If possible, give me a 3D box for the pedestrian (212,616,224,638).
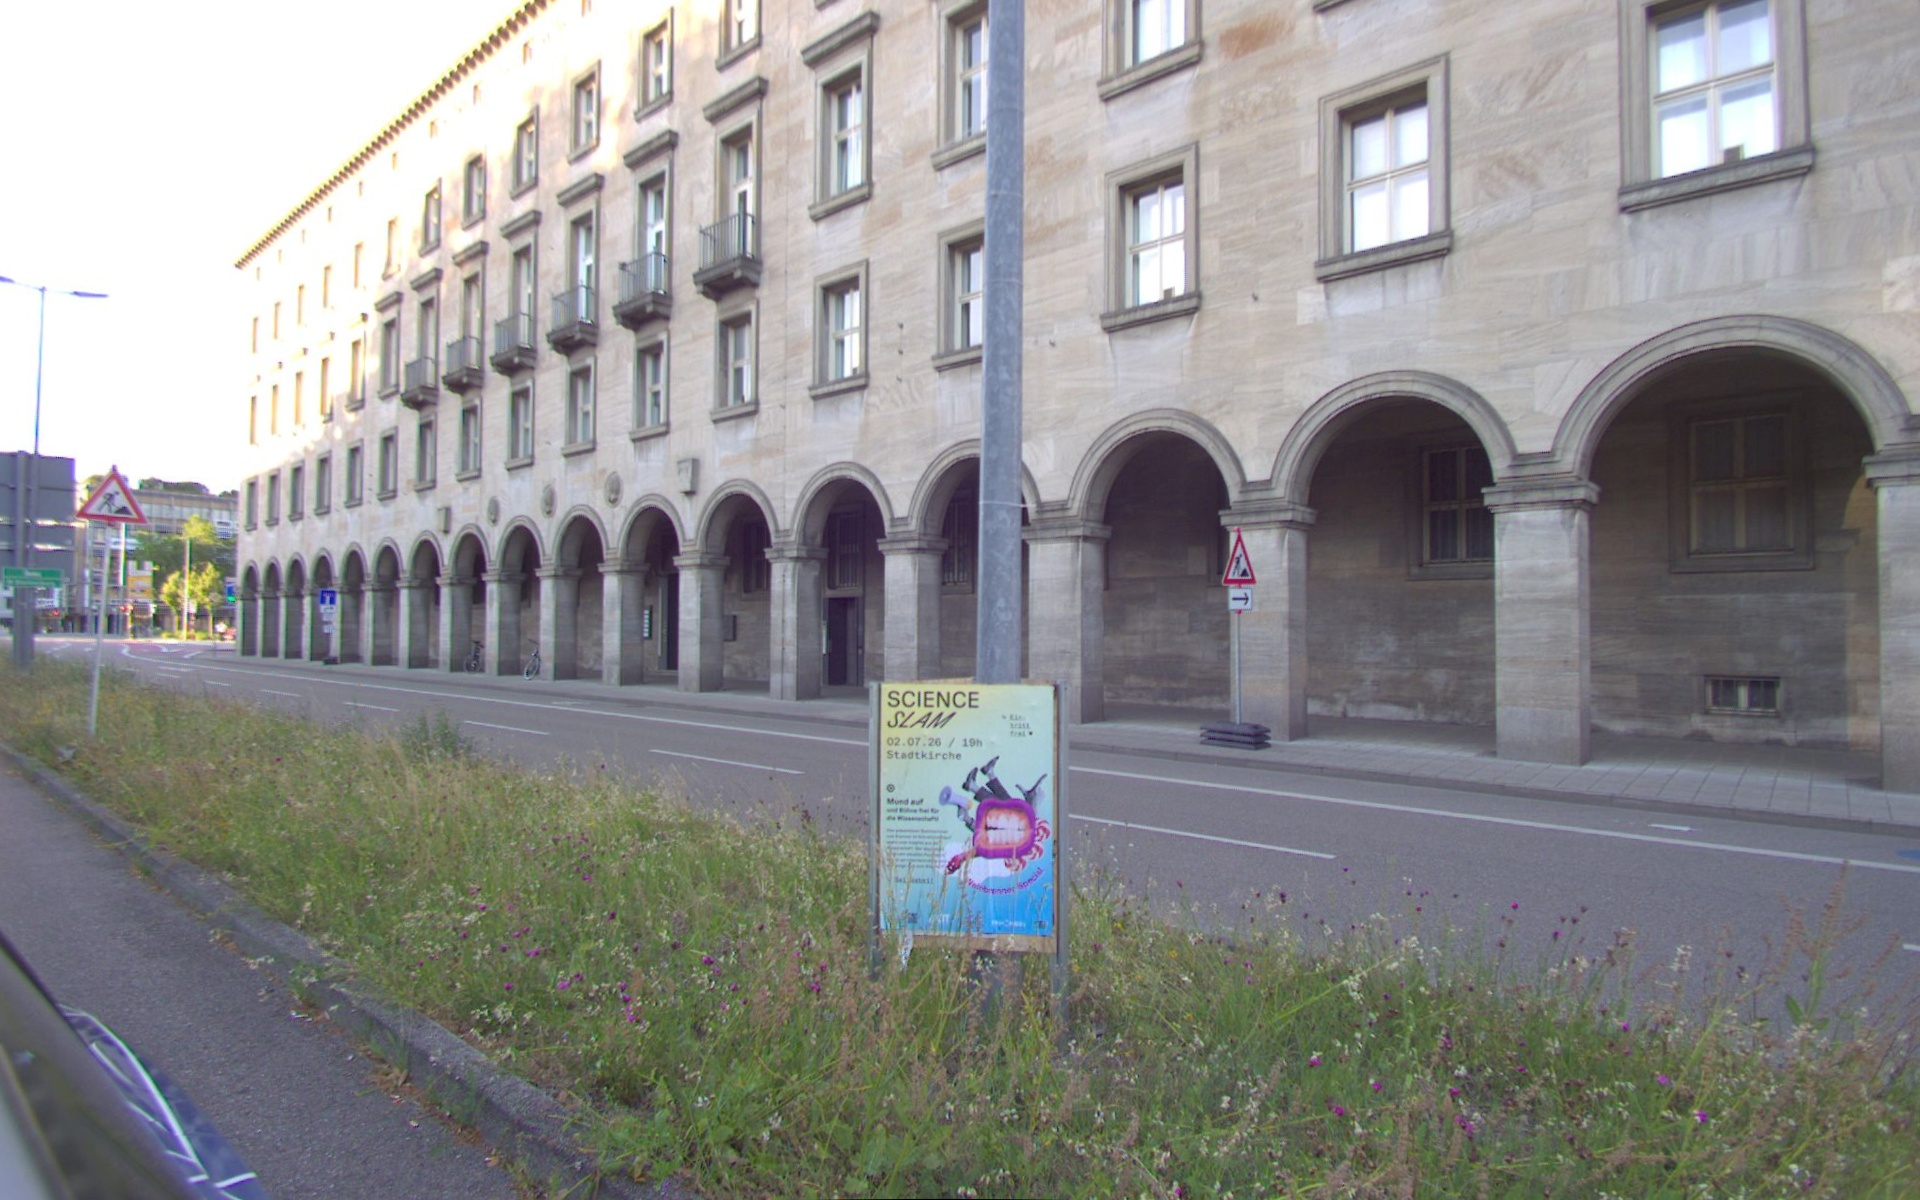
[{"bbox_3d":[-60.078,2.151,81.926,0.506,1.771,0.630,-2,-3,41],"label":"pedestrian"}]

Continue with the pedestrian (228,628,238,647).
[{"bbox_3d":[-59.257,3.070,82.508,0.389,1.553,0.519,-2,-3,41],"label":"pedestrian"}]

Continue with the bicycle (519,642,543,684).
[{"bbox_3d":[-12.761,1.847,30.143,0.505,1.130,2.431,1,-1,-20],"label":"bicycle"}]

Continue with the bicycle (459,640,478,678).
[{"bbox_3d":[-16.115,1.908,33.192,0.505,1.188,2.431,1,-2,-25],"label":"bicycle"}]
